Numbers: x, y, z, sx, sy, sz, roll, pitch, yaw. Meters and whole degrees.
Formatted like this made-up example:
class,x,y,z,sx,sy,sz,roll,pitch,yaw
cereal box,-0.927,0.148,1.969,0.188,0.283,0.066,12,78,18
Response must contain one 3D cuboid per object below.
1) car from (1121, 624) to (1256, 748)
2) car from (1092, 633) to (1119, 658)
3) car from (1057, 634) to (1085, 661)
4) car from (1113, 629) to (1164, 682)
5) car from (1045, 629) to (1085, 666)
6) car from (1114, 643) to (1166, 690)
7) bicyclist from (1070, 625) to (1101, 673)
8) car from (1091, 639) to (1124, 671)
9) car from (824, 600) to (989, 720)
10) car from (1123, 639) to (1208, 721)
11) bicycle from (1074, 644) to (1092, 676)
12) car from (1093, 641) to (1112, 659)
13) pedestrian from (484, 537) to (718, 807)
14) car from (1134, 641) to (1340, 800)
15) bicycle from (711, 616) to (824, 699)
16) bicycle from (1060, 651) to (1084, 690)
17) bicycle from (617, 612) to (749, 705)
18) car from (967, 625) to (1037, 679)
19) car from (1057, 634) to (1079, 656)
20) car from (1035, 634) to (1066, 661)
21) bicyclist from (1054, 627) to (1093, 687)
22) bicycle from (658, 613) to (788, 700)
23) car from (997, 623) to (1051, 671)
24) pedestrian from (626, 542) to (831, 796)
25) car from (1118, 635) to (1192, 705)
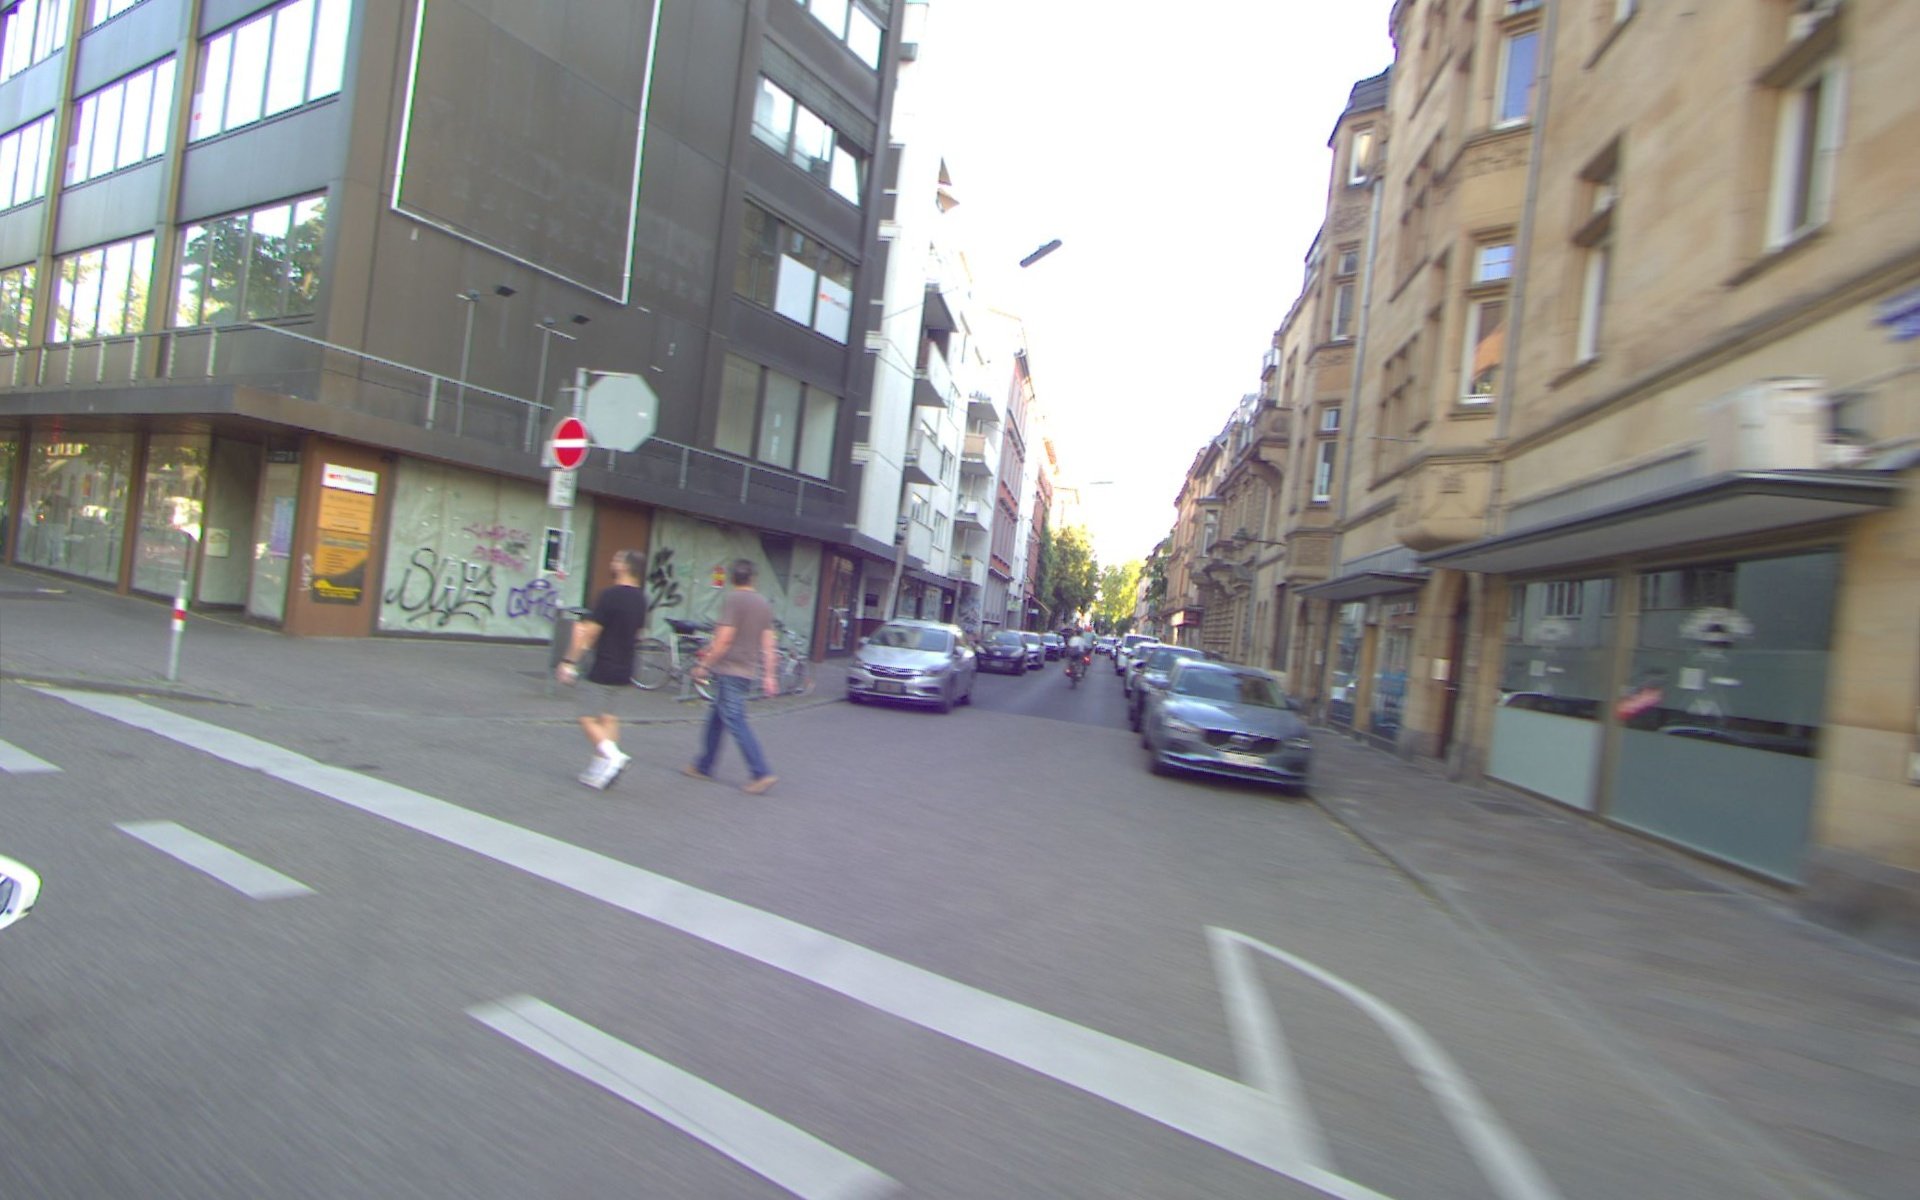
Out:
class,x,y,z,sx,sy,sz,roll,pitch,yaw
car,4.211,1.558,19.208,1.906,1.832,4.430,8,-2,8
car,11.939,3.724,82.216,1.867,1.769,3.697,8,-2,10
car,8.363,3.586,75.791,1.697,1.706,3.664,8,-2,10
car,8.214,2.570,46.632,1.962,2.037,4.833,8,-2,9
car,5.802,2.636,55.431,1.746,1.715,3.583,8,-2,10
car,6.676,2.464,37.554,1.626,1.460,3.781,8,-2,9
bicyclist,4.822,1.886,38.591,0.934,1.682,0.739,8,-1,9
car,8.609,3.184,58.517,1.580,1.583,3.576,8,-2,10
car,-0.782,1.033,17.770,1.962,1.599,4.257,8,-2,8
car,5.071,1.945,25.245,1.598,1.668,4.005,8,-2,8
bicycle,4.745,2.288,38.664,0.500,1.138,2.236,8,-2,9
car,13.440,4.704,94.844,1.444,1.503,3.100,8,-2,10
pedestrian,-2.530,0.479,7.091,1.238,1.659,0.756,7,-1,32
car,3.490,1.463,13.595,1.892,1.505,4.694,8,-2,8
bicycle,-3.161,0.939,16.492,1.658,1.107,0.416,8,-1,11
bicycle,3.371,2.107,30.208,0.500,1.064,2.236,8,-2,8
bicycle,-3.812,0.796,13.846,1.658,1.043,0.416,8,0,14
car,1.506,1.764,34.559,1.746,1.514,3.835,8,-1,10
car,9.811,4.091,91.494,1.627,1.732,3.785,8,-2,9
car,6.028,3.176,66.743,1.555,1.552,3.583,8,-2,10
bicyclist,3.370,1.688,29.813,0.934,1.648,0.739,8,-1,8
bicycle,-3.536,0.833,15.037,1.742,1.051,0.415,8,1,6
car,2.640,1.923,40.634,1.593,1.633,3.491,8,-2,10
pedestrian,-1.843,0.527,8.010,1.202,1.788,0.756,7,-1,32
car,5.841,2.077,30.488,1.768,1.752,4.005,8,-2,8
